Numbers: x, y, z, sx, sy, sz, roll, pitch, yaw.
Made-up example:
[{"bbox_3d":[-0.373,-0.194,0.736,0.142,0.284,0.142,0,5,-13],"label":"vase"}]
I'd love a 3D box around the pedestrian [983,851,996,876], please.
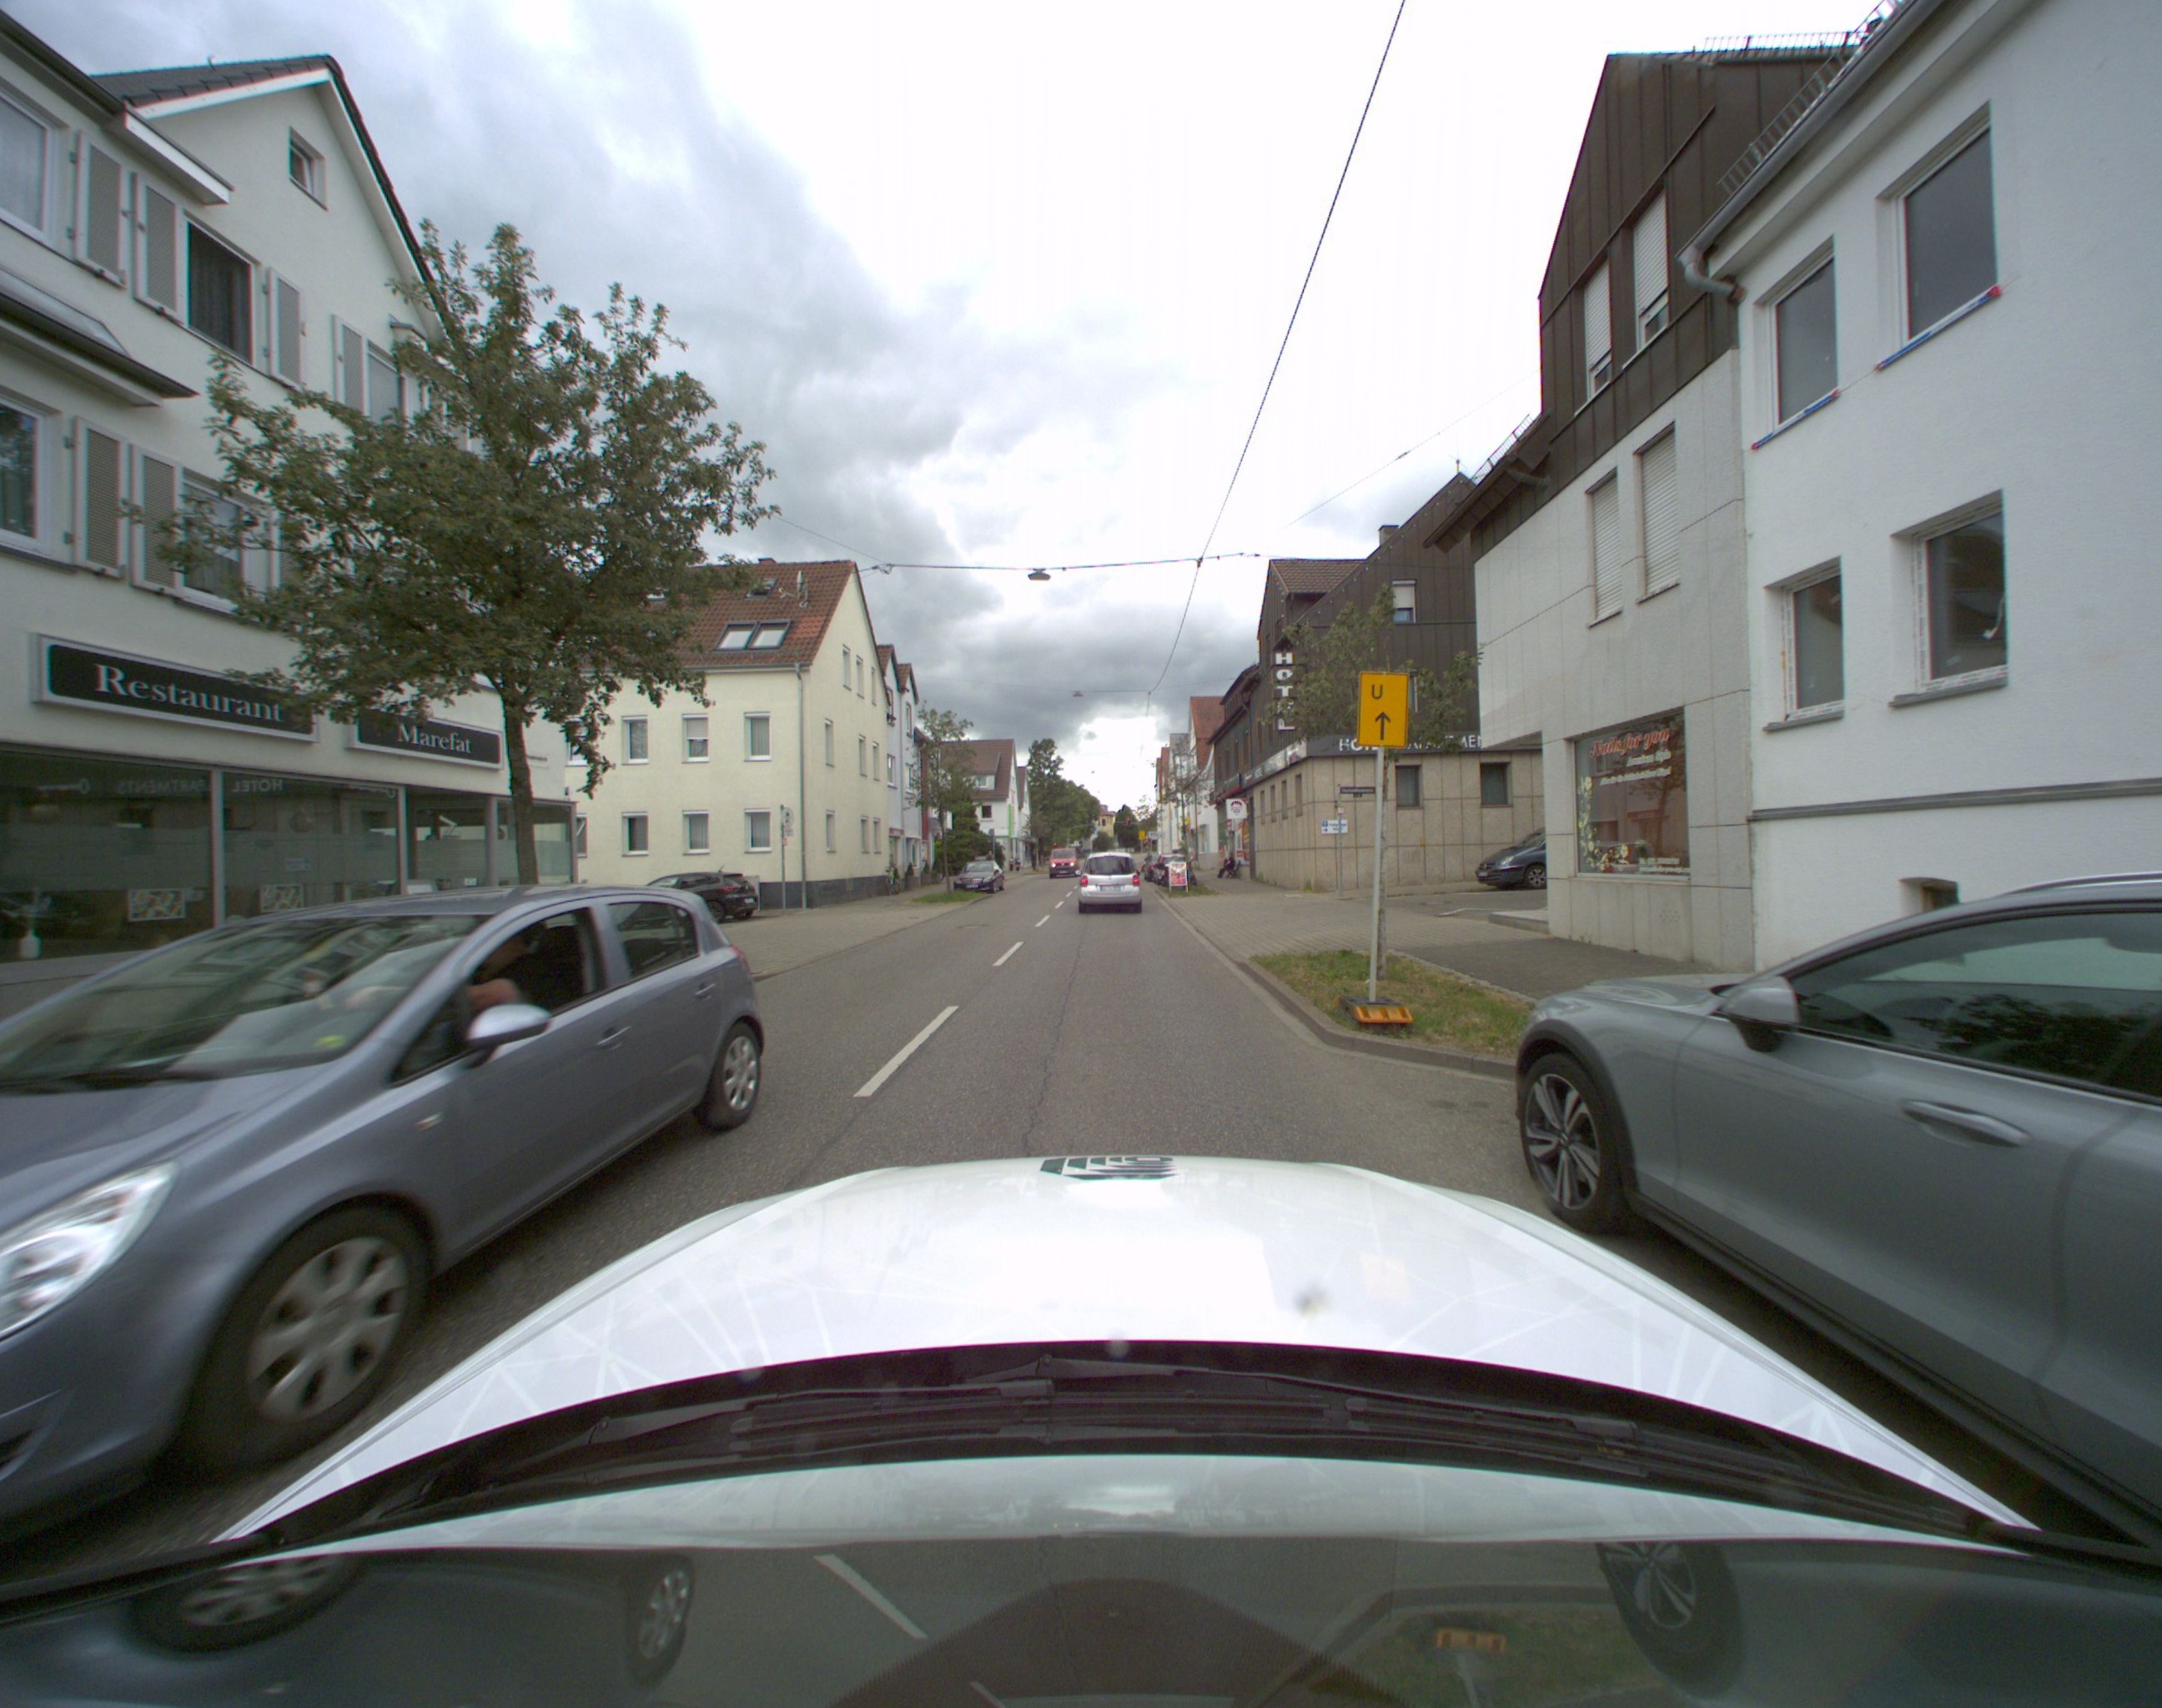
[{"bbox_3d":[-6.655,0.713,59.334,0.760,1.791,0.890,-1,0,2],"label":"pedestrian"}]

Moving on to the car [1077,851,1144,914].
[{"bbox_3d":[0.836,0.728,22.559,1.675,1.566,3.996,0,0,3],"label":"car"}]

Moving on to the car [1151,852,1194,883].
[{"bbox_3d":[4.354,0.622,39.123,1.694,1.430,3.892,-1,0,2],"label":"car"}]

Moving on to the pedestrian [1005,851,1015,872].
[{"bbox_3d":[-6.170,0.638,70.728,0.713,1.756,0.696,-1,0,1],"label":"pedestrian"}]

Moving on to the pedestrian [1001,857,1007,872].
[{"bbox_3d":[-6.615,0.921,69.939,0.490,1.278,0.588,-1,0,2],"label":"pedestrian"}]

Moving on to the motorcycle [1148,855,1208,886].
[{"bbox_3d":[4.309,0.708,35.972,2.723,1.336,0.693,-1,0,-29],"label":"motorcycle"}]

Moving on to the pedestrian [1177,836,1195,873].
[{"bbox_3d":[5.668,0.031,44.100,0.853,1.928,0.900,-1,0,2],"label":"pedestrian"}]

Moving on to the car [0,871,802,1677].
[{"bbox_3d":[-2.770,0.876,3.534,1.677,1.447,4.019,-3,0,0],"label":"car"}]

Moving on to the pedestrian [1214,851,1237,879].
[{"bbox_3d":[7.222,0.554,40.799,0.884,1.300,0.967,-5,-1,2],"label":"pedestrian"}]

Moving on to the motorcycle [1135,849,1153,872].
[{"bbox_3d":[4.584,0.450,59.176,0.698,1.639,2.400,-1,0,-11],"label":"motorcycle"}]

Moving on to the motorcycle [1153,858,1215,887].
[{"bbox_3d":[4.447,0.779,34.922,2.744,1.183,0.693,-1,0,-29],"label":"motorcycle"}]

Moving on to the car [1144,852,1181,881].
[{"bbox_3d":[4.333,0.629,43.939,1.694,1.467,4.240,-1,0,2],"label":"car"}]

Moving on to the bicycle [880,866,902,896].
[{"bbox_3d":[-7.690,1.083,33.032,0.513,1.153,1.666,-1,0,-1],"label":"bicycle"}]

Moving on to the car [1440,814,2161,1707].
[{"bbox_3d":[2.757,0.692,1.845,1.870,1.539,4.511,-1,0,-1],"label":"car"}]

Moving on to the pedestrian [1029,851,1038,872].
[{"bbox_3d":[-4.284,0.637,73.622,0.713,1.876,0.696,-1,0,1],"label":"pedestrian"}]

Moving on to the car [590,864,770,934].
[{"bbox_3d":[-10.945,1.192,22.393,3.973,1.534,1.735,-4,0,1],"label":"car"}]

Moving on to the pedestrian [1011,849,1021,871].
[{"bbox_3d":[-5.569,0.514,69.983,0.759,1.876,0.696,-1,0,1],"label":"pedestrian"}]

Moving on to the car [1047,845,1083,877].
[{"bbox_3d":[-1.045,0.458,54.468,1.940,1.961,5.226,-4,0,2],"label":"car"}]

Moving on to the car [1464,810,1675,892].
[{"bbox_3d":[13.029,-0.078,21.916,4.467,1.866,1.930,-3,0,-1],"label":"car"}]

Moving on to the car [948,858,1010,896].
[{"bbox_3d":[-4.507,0.982,36.667,1.940,1.467,4.519,-4,0,2],"label":"car"}]
